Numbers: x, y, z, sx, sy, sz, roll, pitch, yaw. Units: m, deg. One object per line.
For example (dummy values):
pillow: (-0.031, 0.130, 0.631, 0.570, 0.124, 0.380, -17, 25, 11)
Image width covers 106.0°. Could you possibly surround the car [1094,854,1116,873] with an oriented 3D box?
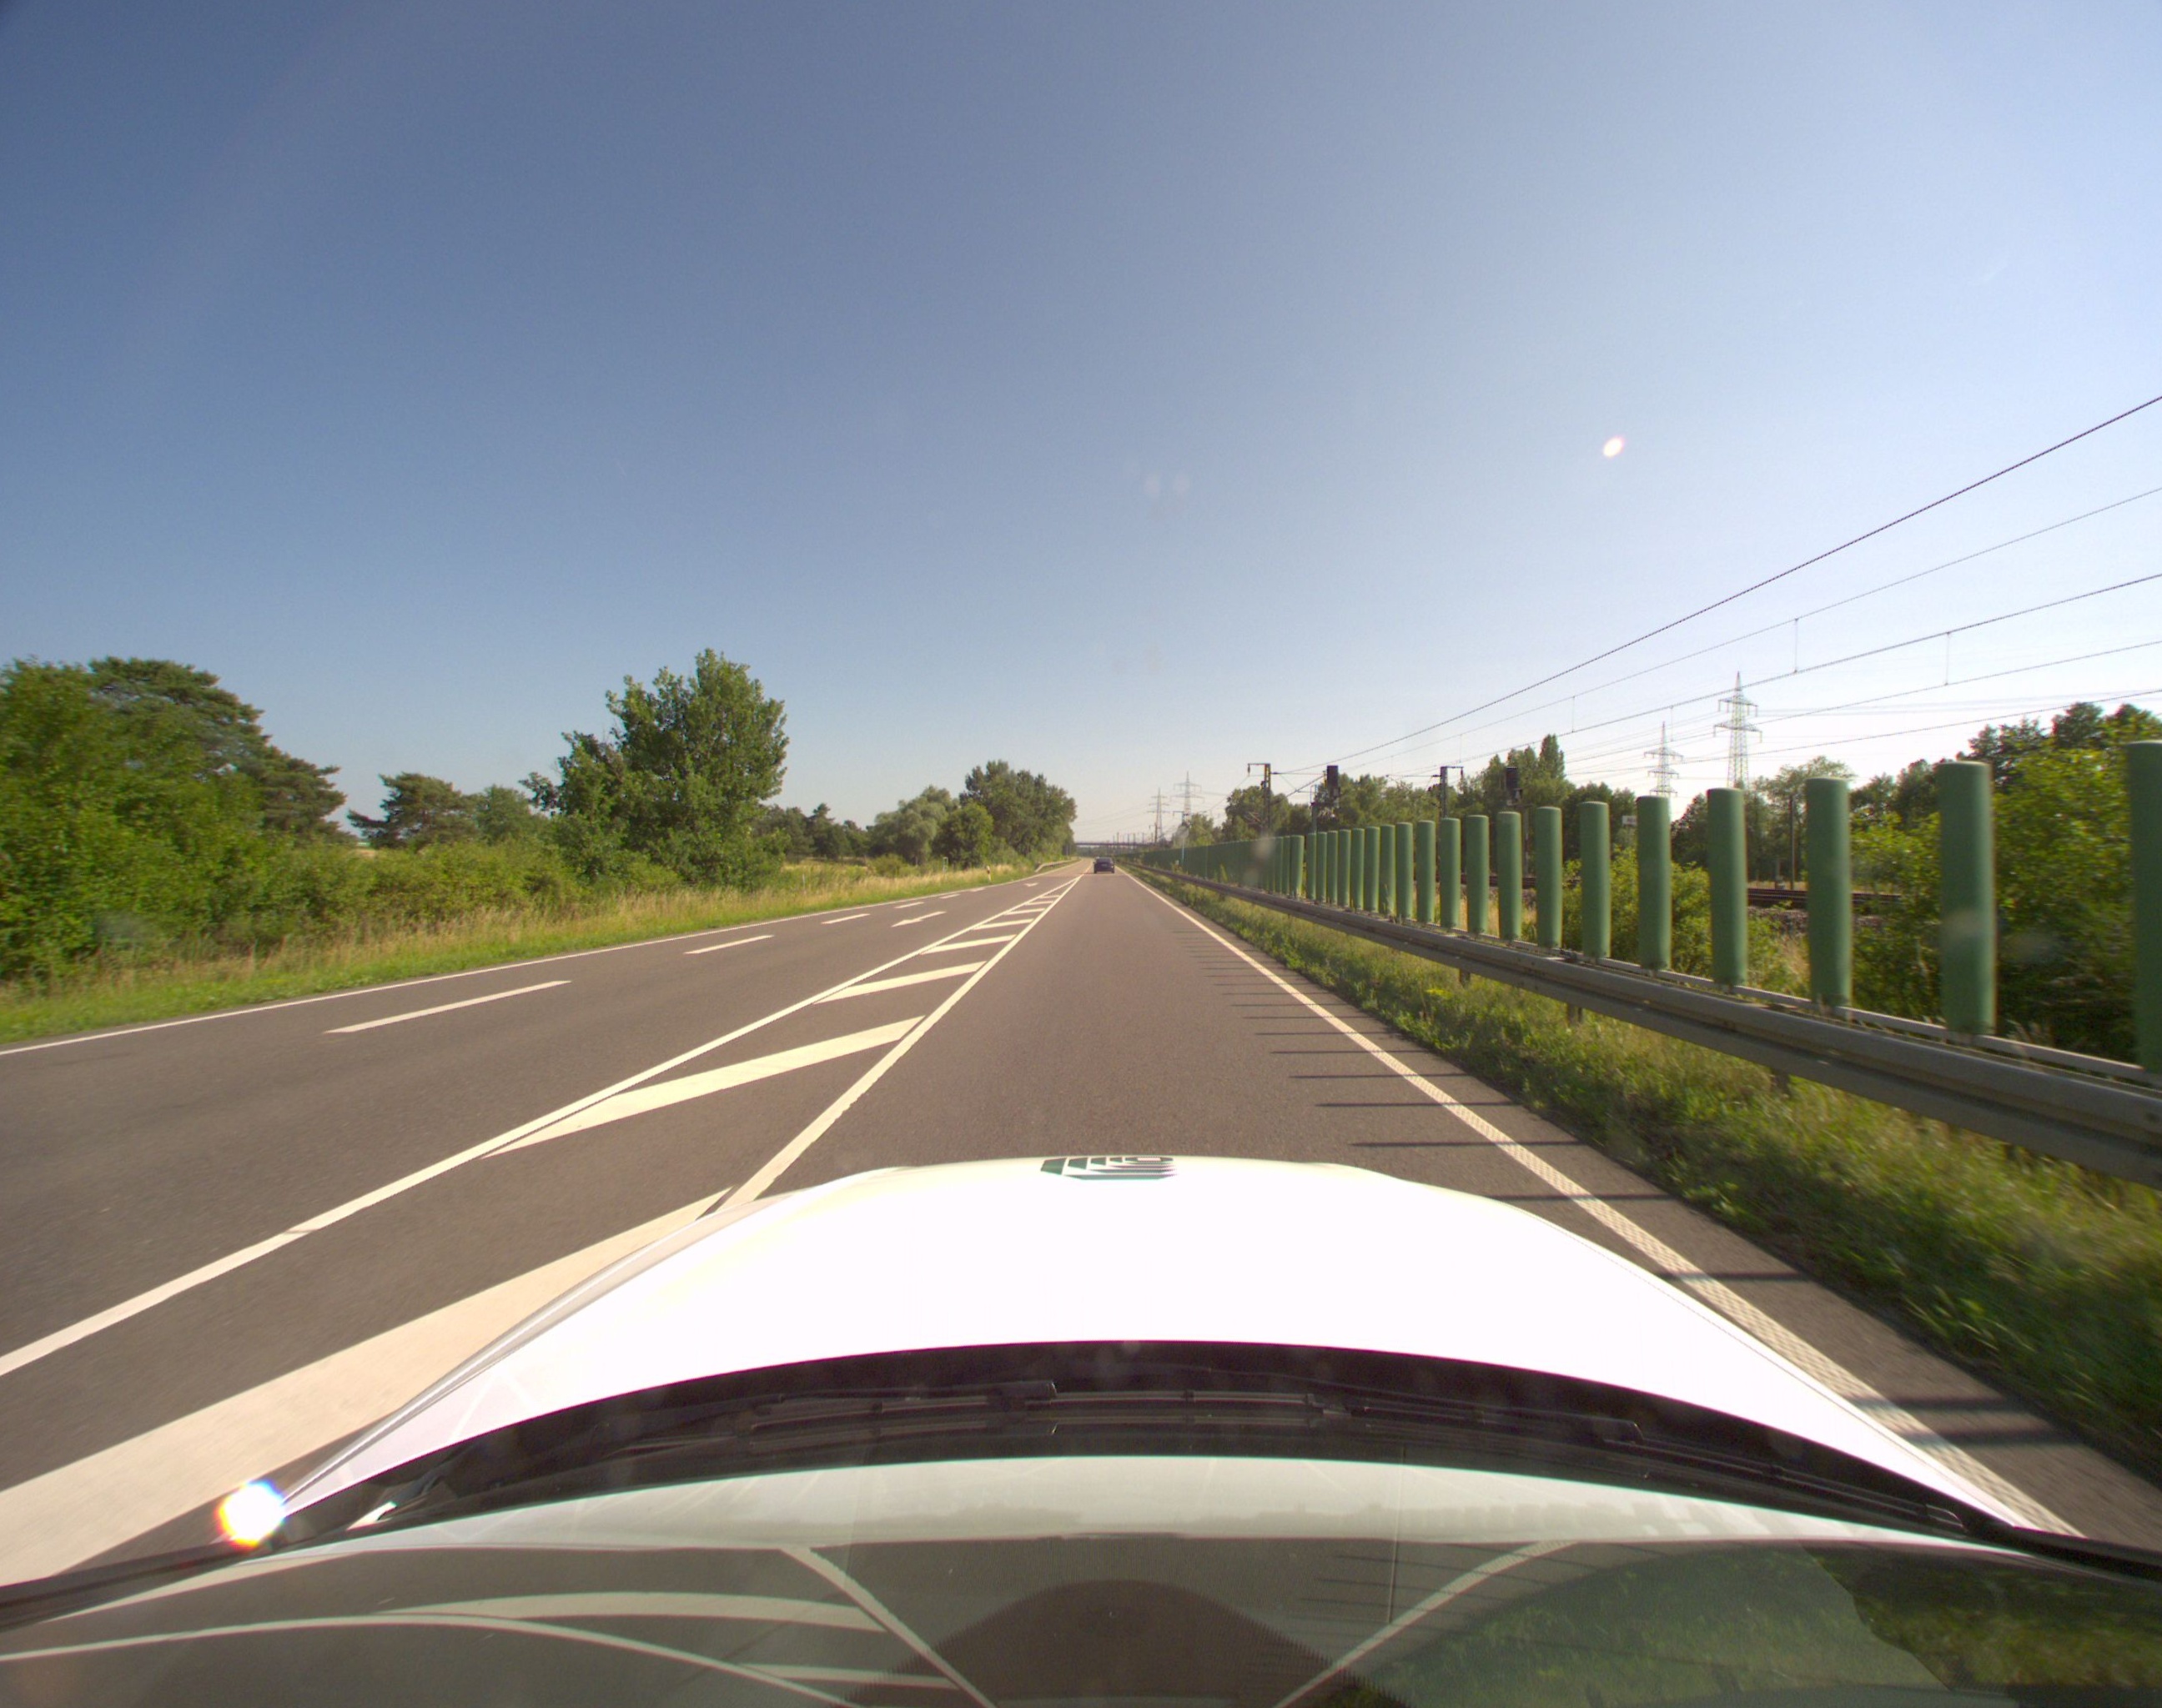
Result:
car: (2.148, 0.819, 73.527, 1.852, 1.642, 4.001, -2, 0, 1)
